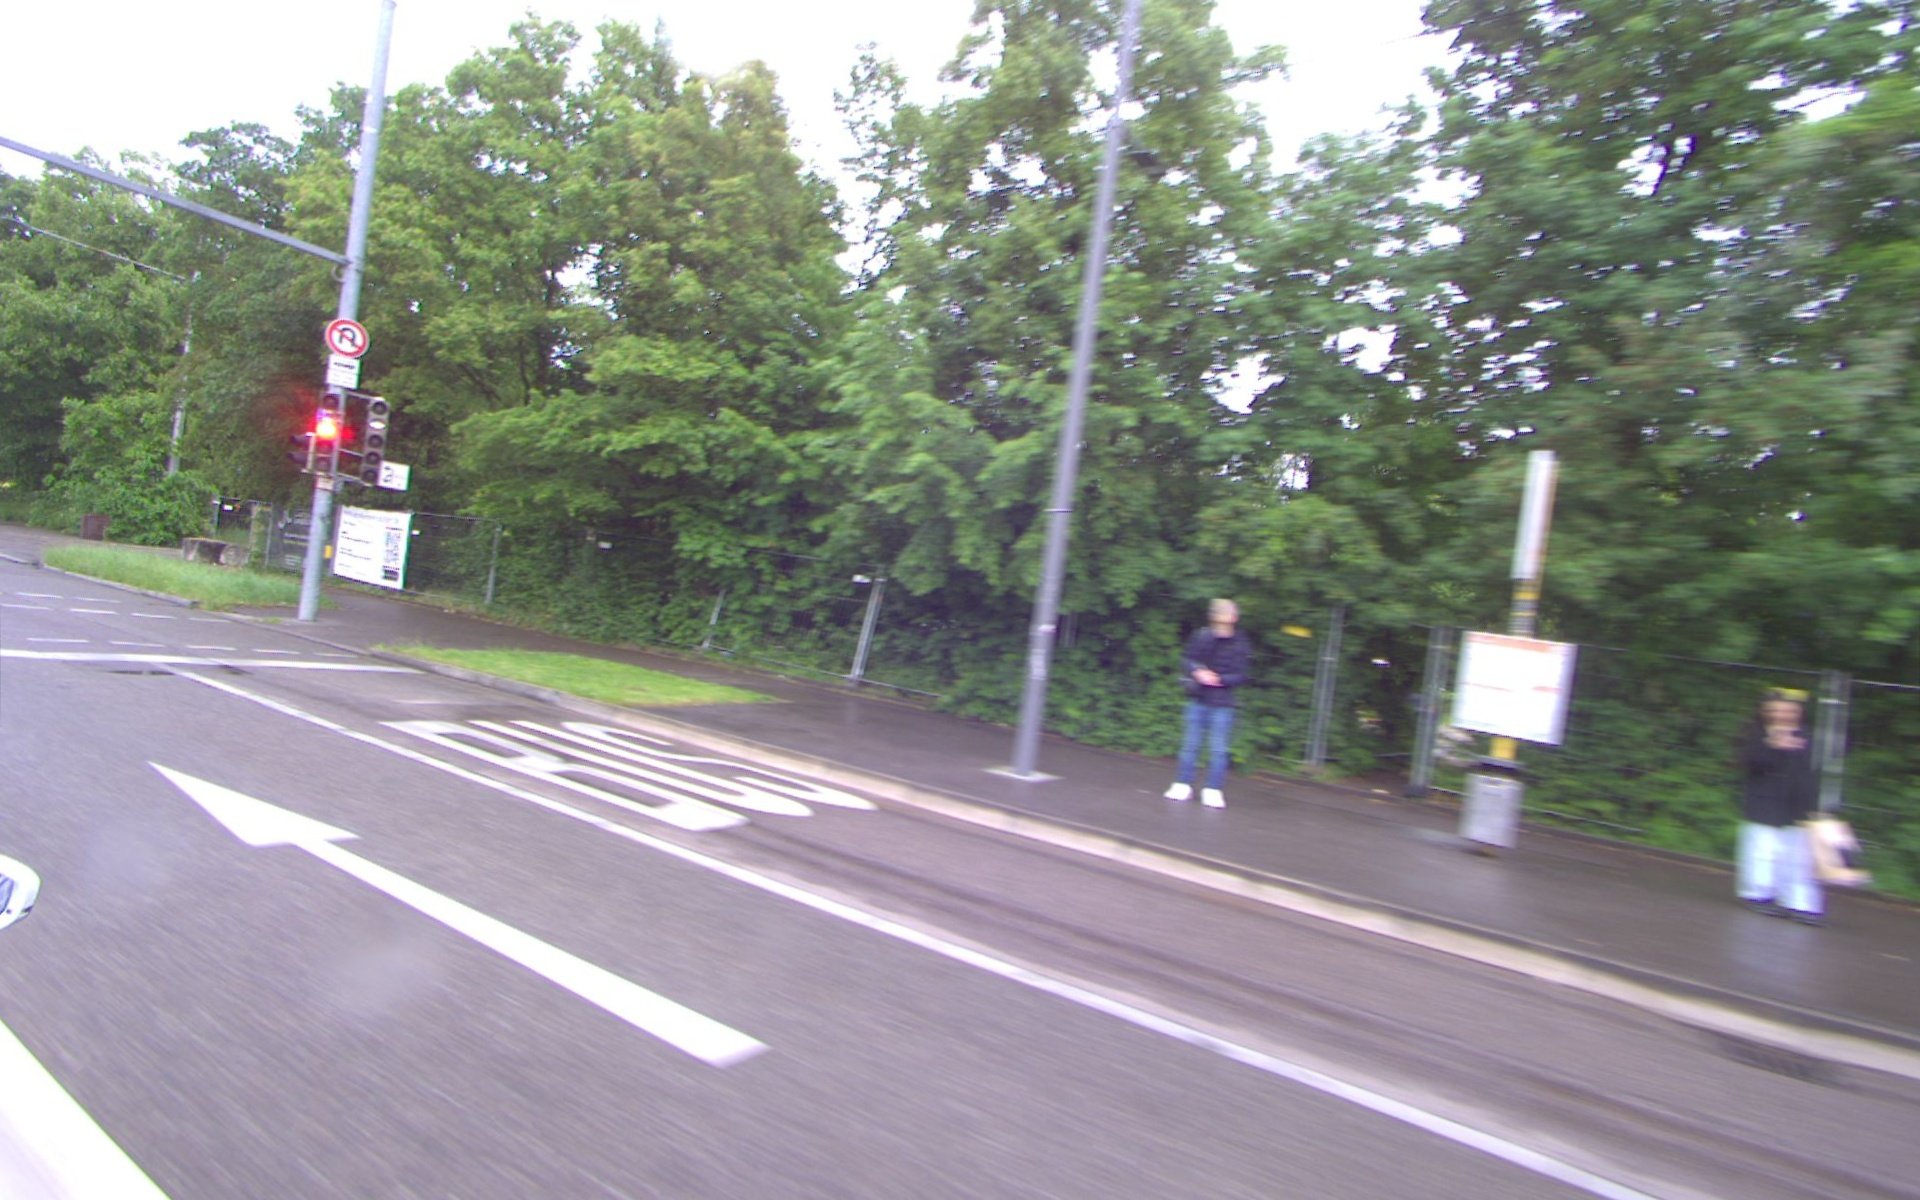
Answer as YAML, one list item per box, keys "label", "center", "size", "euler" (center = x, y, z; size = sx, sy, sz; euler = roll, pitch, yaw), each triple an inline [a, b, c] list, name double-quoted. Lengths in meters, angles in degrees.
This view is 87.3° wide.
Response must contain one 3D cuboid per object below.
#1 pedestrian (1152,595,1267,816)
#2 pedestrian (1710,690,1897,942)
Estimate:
- label: "pedestrian"
  center: [2.359, 0.968, 9.486]
  size: [0.706, 1.924, 0.641]
  euler: [7, 1, 27]
- label: "pedestrian"
  center: [6.339, 1.576, 7.614]
  size: [0.779, 1.678, 0.677]
  euler: [7, 1, 27]
